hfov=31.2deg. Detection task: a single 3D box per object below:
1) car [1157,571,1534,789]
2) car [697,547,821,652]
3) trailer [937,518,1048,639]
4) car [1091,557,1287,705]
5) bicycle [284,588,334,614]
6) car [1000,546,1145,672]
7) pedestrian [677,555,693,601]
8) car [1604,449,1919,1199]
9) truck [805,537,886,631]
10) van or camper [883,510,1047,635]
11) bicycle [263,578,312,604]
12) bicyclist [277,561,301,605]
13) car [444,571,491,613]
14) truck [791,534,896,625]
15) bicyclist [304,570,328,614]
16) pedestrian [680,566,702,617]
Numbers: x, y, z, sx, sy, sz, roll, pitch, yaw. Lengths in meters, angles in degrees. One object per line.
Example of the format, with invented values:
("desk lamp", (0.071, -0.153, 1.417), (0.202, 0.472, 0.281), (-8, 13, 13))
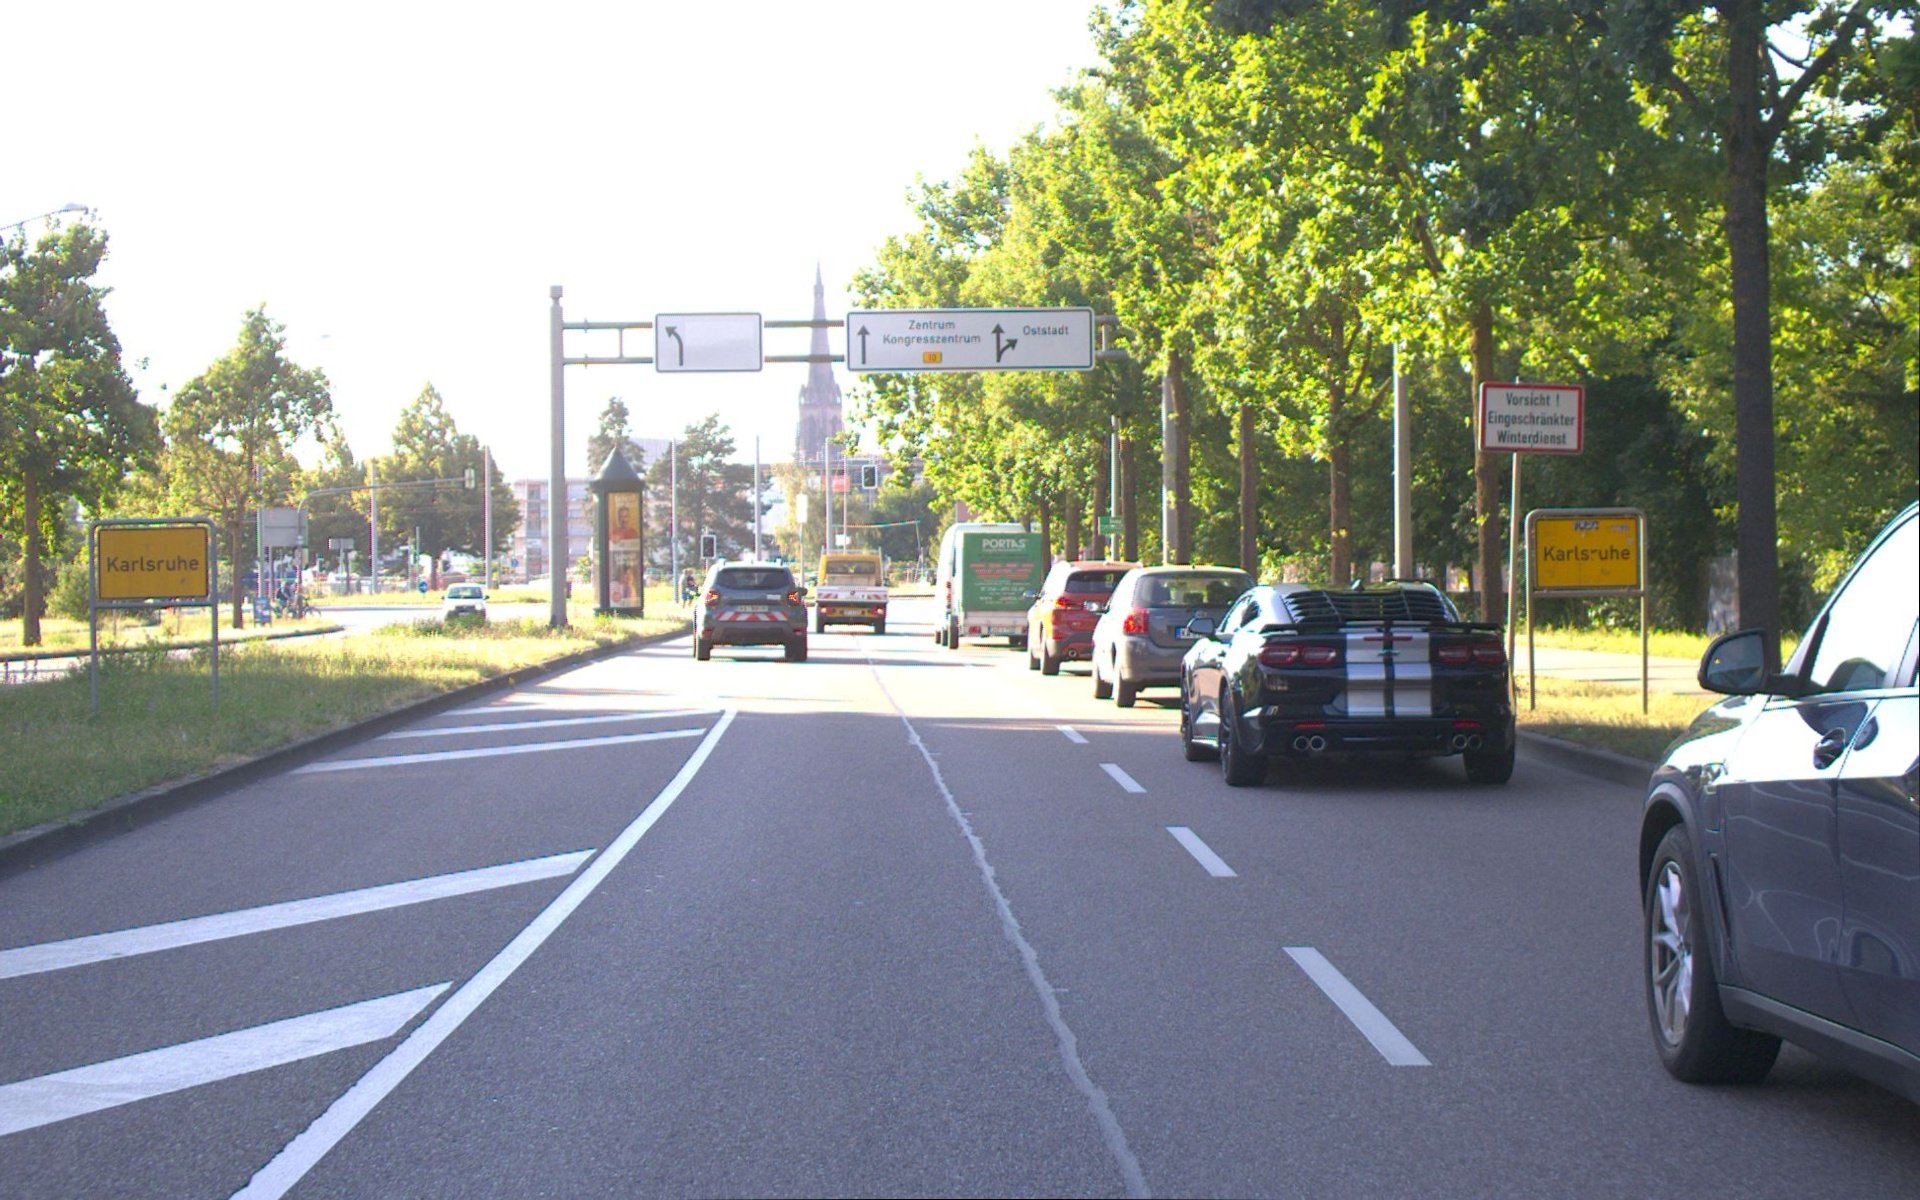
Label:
("car", (2.555, 0.481, 23.877), (1.854, 1.333, 4.626), (0, 1, -3))
("car", (-3.368, -0.018, 57.000), (1.905, 1.654, 4.001), (-1, 0, -5))
("trailer", (0.637, -0.446, 70.130), (2.090, 2.392, 3.501), (1, 1, -2))
("car", (2.393, 0.288, 36.781), (1.747, 1.468, 3.820), (-1, 1, -1))
("bicycle", (-26.391, 0.040, 139.346), (1.909, 1.016, 0.504), (1, 0, 5))
("car", (1.573, 0.096, 49.153), (1.747, 1.615, 3.820), (1, 2, -3))
("pedestrian", (-10.900, -0.865, 136.103), (0.486, 1.837, 0.719), (-1, 0, 4))
("car", (2.986, 0.546, 8.093), (1.955, 1.721, 4.699), (0, 0, -1))
("truck", (-3.366, -0.489, 100.322), (2.219, 2.642, 4.774), (-1, 1, -3))
("van or camper", (0.038, -0.637, 76.178), (2.284, 2.620, 6.585), (0, 1, -12))
("bicycle", (-26.990, -0.346, 137.964), (1.909, 1.016, 0.504), (0, 1, 13))
("bicyclist", (-26.928, -0.671, 137.953), (0.813, 1.764, 0.496), (1, 0, 13))
("car", (-18.769, -0.301, 131.054), (1.562, 1.569, 3.413), (-1, 0, -5))
("truck", (-3.475, -0.625, 100.978), (2.580, 2.549, 6.253), (-1, 1, -6))
("bicyclist", (-26.098, -0.335, 139.322), (0.813, 1.783, 0.496), (1, 0, 6))
("pedestrian", (-10.654, -0.328, 136.200), (0.789, 2.007, 0.701), (-1, 1, -8))
